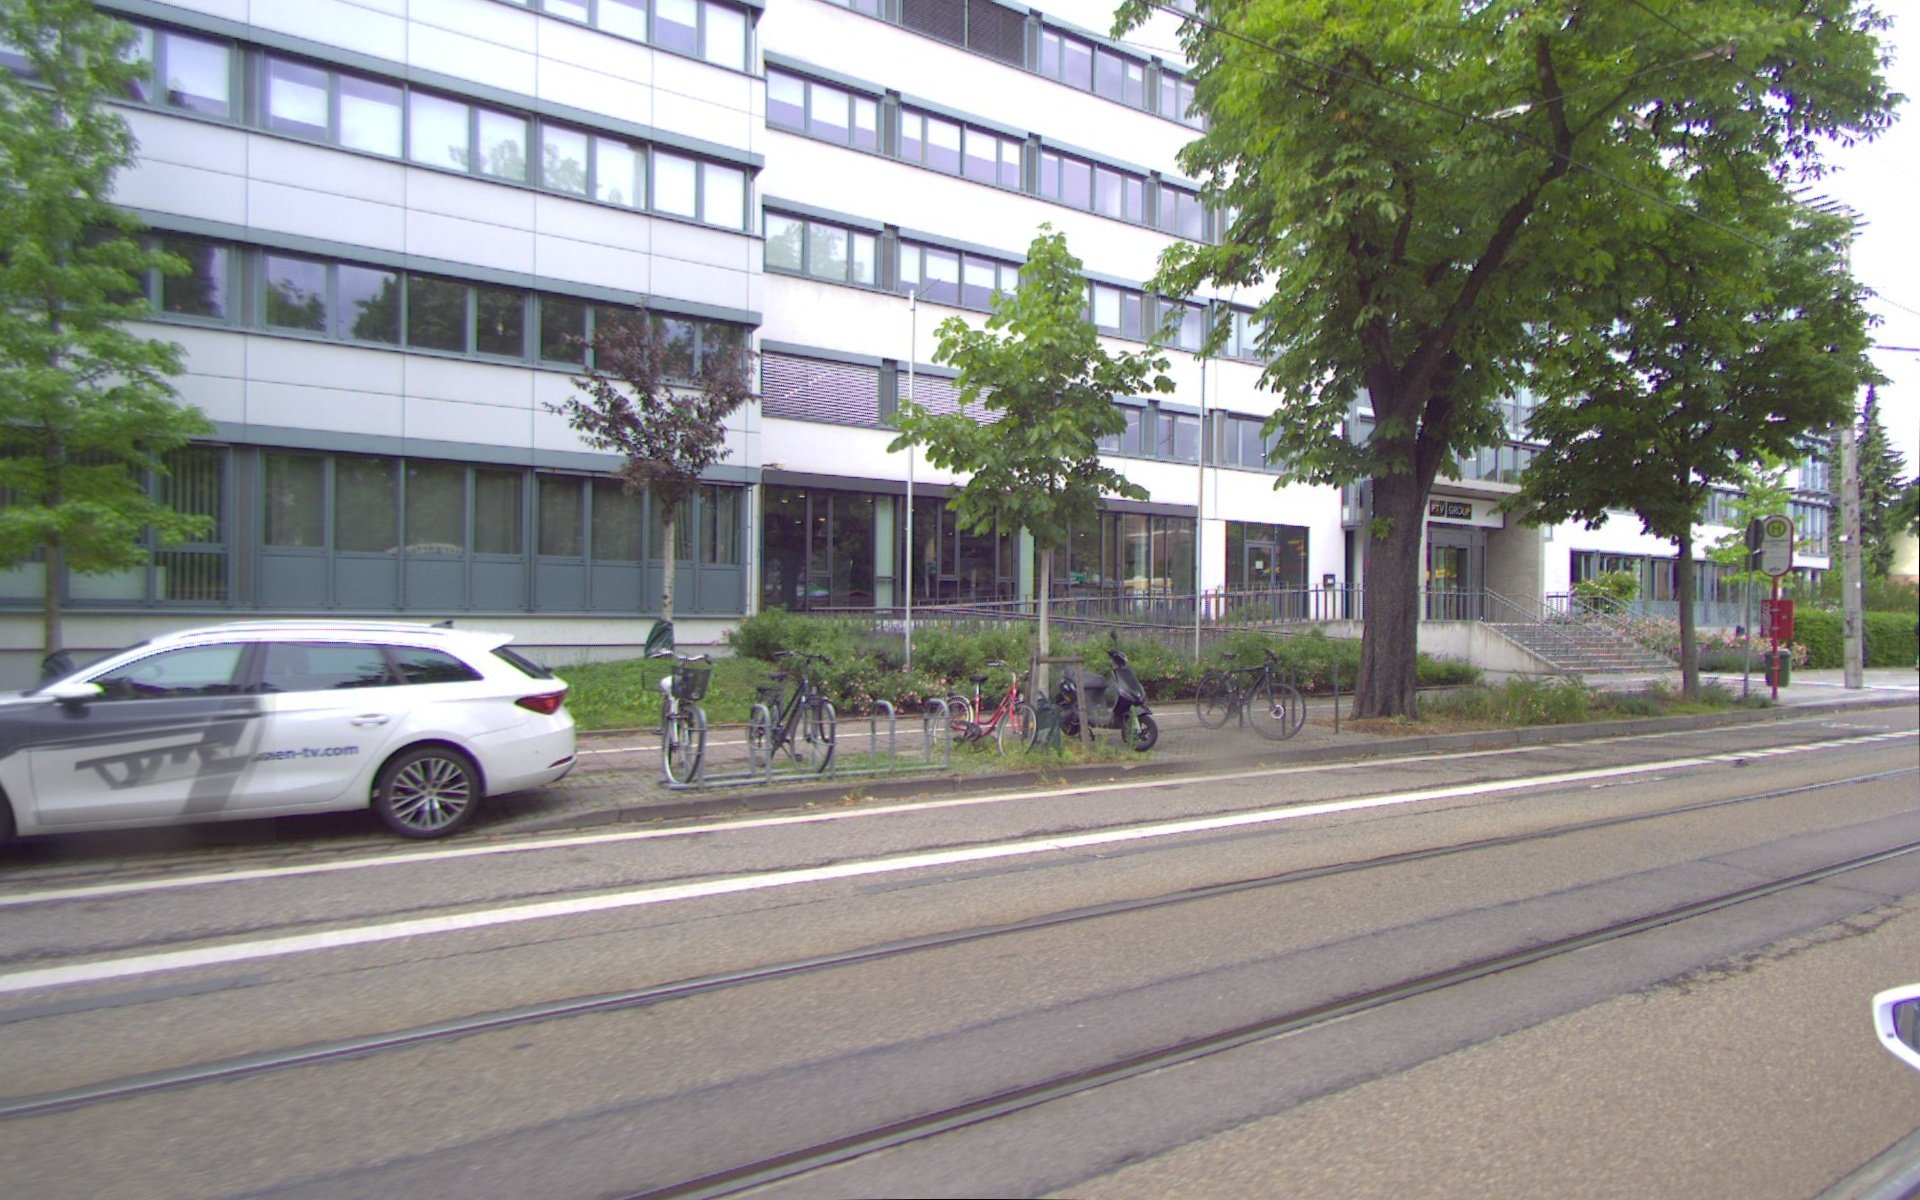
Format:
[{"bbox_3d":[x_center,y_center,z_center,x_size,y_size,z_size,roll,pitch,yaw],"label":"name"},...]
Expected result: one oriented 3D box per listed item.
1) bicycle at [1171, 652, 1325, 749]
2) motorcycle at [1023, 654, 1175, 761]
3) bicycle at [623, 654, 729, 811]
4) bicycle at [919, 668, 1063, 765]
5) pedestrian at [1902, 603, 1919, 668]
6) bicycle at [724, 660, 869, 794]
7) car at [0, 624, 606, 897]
[{"bbox_3d":[3.619,1.228,12.744,0.735,1.067,1.814,0,0,-38],"label":"bicycle"},{"bbox_3d":[1.583,1.208,11.734,0.726,1.064,1.775,1,0,-36],"label":"motorcycle"},{"bbox_3d":[-2.560,1.102,8.923,0.624,1.202,1.859,1,-2,-25],"label":"bicycle"},{"bbox_3d":[0.302,1.232,10.999,0.626,0.911,1.794,2,-2,-35],"label":"bicycle"},{"bbox_3d":[30.555,1.116,31.784,0.977,2.040,0.708,1,0,-23],"label":"pedestrian"},{"bbox_3d":[-1.592,1.145,9.549,0.626,1.114,1.794,2,-2,-35],"label":"bicycle"},{"bbox_3d":[-5.134,0.960,7.130,4.697,1.513,1.872,1,1,-30],"label":"car"}]
